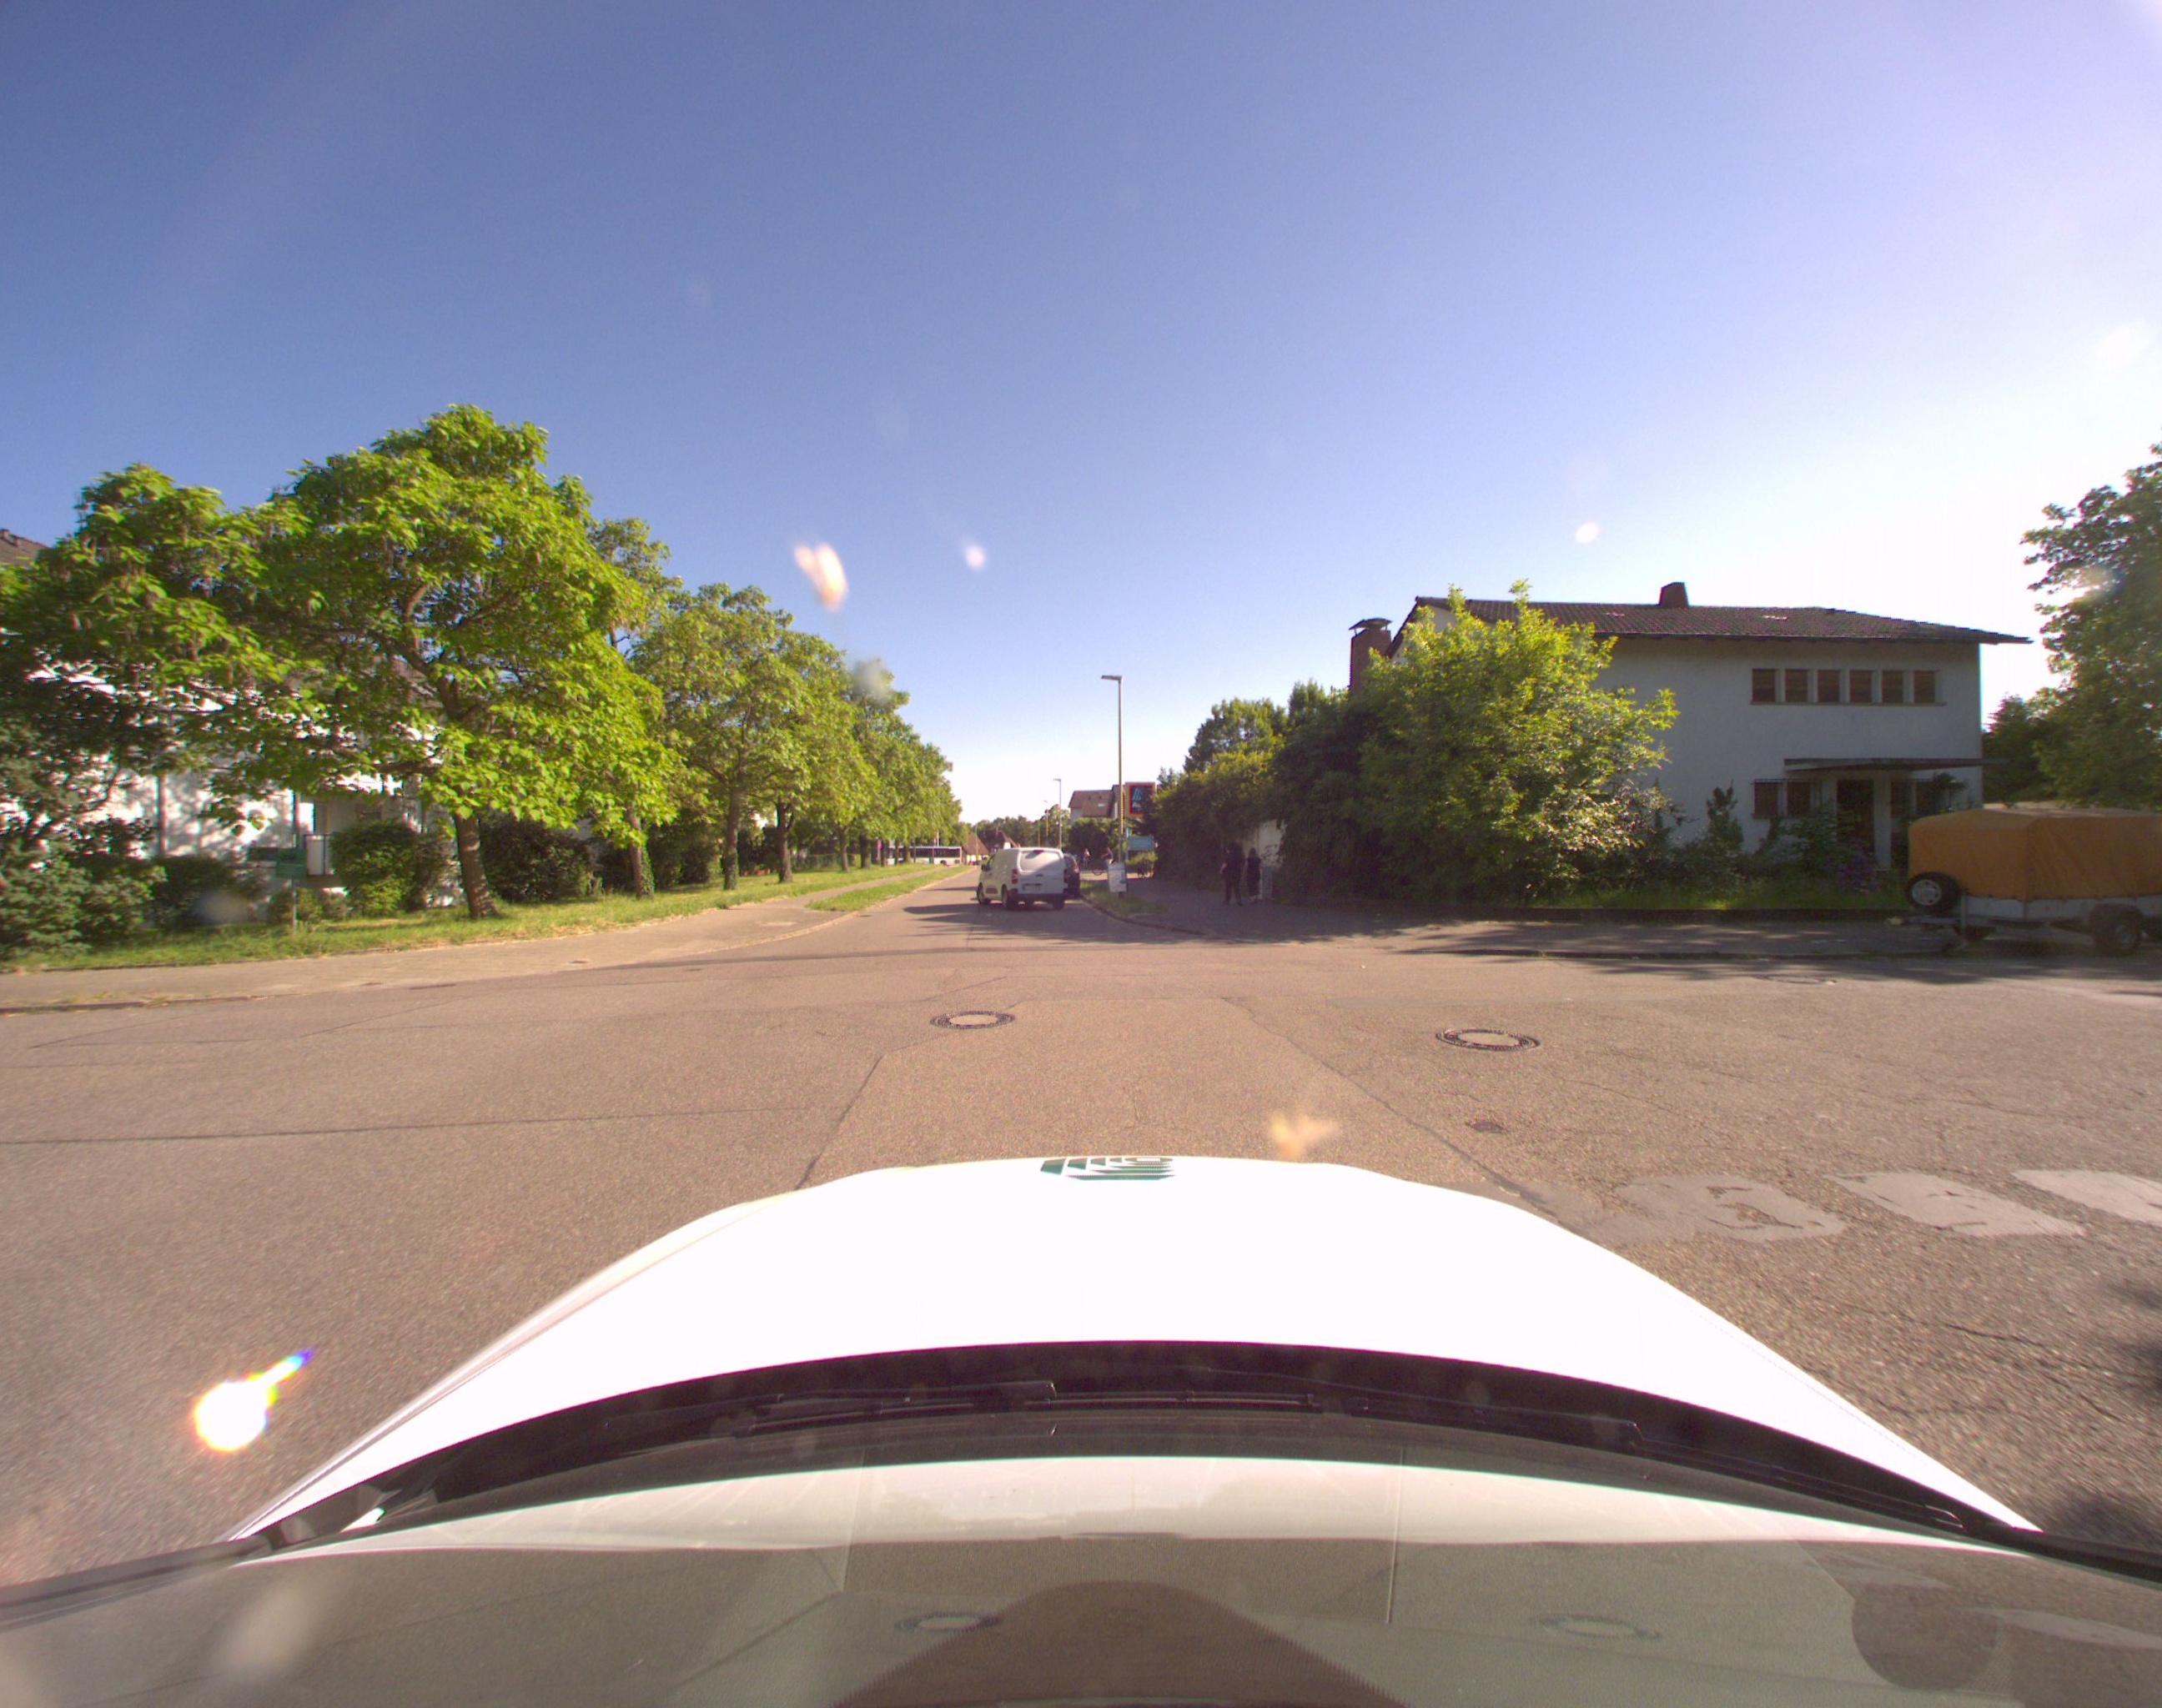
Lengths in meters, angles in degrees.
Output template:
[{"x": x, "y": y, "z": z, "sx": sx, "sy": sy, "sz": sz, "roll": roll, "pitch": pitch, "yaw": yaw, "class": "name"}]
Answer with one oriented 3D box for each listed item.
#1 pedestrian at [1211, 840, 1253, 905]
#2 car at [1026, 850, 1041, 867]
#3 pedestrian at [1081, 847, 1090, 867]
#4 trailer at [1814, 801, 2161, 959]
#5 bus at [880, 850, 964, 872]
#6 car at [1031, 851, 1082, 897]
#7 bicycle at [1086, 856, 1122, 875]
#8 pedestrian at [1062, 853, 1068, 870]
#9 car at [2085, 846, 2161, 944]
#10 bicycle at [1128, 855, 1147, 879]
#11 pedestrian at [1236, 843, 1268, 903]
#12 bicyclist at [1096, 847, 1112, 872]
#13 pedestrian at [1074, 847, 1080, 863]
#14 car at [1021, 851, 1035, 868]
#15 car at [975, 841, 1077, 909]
[{"x": 4.150, "y": 0.518, "z": 22.418, "sx": 0.803, "sy": 1.717, "sz": 0.981, "roll": -2, "pitch": -1, "yaw": -8, "class": "pedestrian"}, {"x": -5.518, "y": 0.529, "z": 94.005, "sx": 1.721, "sy": 1.837, "sz": 3.995, "roll": 0, "pitch": 0, "yaw": -4, "class": "car"}, {"x": 0.402, "y": 0.283, "z": 73.879, "sx": 0.795, "sy": 1.782, "sz": 0.809, "roll": -1, "pitch": 0, "yaw": 3, "class": "pedestrian"}, {"x": 13.895, "y": 0.321, "z": 12.327, "sx": 4.055, "sy": 2.119, "sz": 1.975, "roll": -1, "pitch": 1, "yaw": -6, "class": "trailer"}, {"x": -21.177, "y": 0.909, "z": 108.784, "sx": 10.634, "sy": 2.824, "sz": 3.015, "roll": 0, "pitch": -1, "yaw": -35, "class": "bus"}, {"x": -1.007, "y": 0.720, "z": 31.550, "sx": 1.722, "sy": 1.656, "sz": 4.345, "roll": -1, "pitch": 0, "yaw": -5, "class": "car"}, {"x": 1.509, "y": 0.751, "z": 53.703, "sx": 2.267, "sy": 1.138, "sz": 0.788, "roll": -2, "pitch": -1, "yaw": -3, "class": "bicycle"}, {"x": -1.554, "y": 0.761, "z": 79.777, "sx": 0.565, "sy": 1.637, "sz": 0.546, "roll": 0, "pitch": 0, "yaw": 0, "class": "pedestrian"}, {"x": 18.555, "y": 0.603, "z": 12.596, "sx": 3.910, "sy": 1.512, "sz": 1.887, "roll": -1, "pitch": -1, "yaw": -4, "class": "car"}, {"x": 3.034, "y": 0.710, "z": 43.875, "sx": 0.716, "sy": 1.221, "sz": 1.902, "roll": -3, "pitch": -1, "yaw": 11, "class": "bicycle"}, {"x": 4.737, "y": 0.522, "z": 22.580, "sx": 0.572, "sy": 1.609, "sz": 0.790, "roll": -2, "pitch": -1, "yaw": -8, "class": "pedestrian"}, {"x": 1.534, "y": 0.387, "z": 53.722, "sx": 0.961, "sy": 1.584, "sz": 0.907, "roll": -2, "pitch": -1, "yaw": -3, "class": "bicyclist"}, {"x": -0.439, "y": 0.134, "z": 83.813, "sx": 0.565, "sy": 1.637, "sz": 0.546, "roll": 0, "pitch": 0, "yaw": 0, "class": "pedestrian"}, {"x": -8.339, "y": 0.813, "z": 127.545, "sx": 1.864, "sy": 2.562, "sz": 4.757, "roll": 2, "pitch": -1, "yaw": -6, "class": "car"}, {"x": -1.792, "y": 0.597, "z": 25.144, "sx": 2.001, "sy": 1.882, "sz": 4.259, "roll": 0, "pitch": 0, "yaw": -20, "class": "car"}]
